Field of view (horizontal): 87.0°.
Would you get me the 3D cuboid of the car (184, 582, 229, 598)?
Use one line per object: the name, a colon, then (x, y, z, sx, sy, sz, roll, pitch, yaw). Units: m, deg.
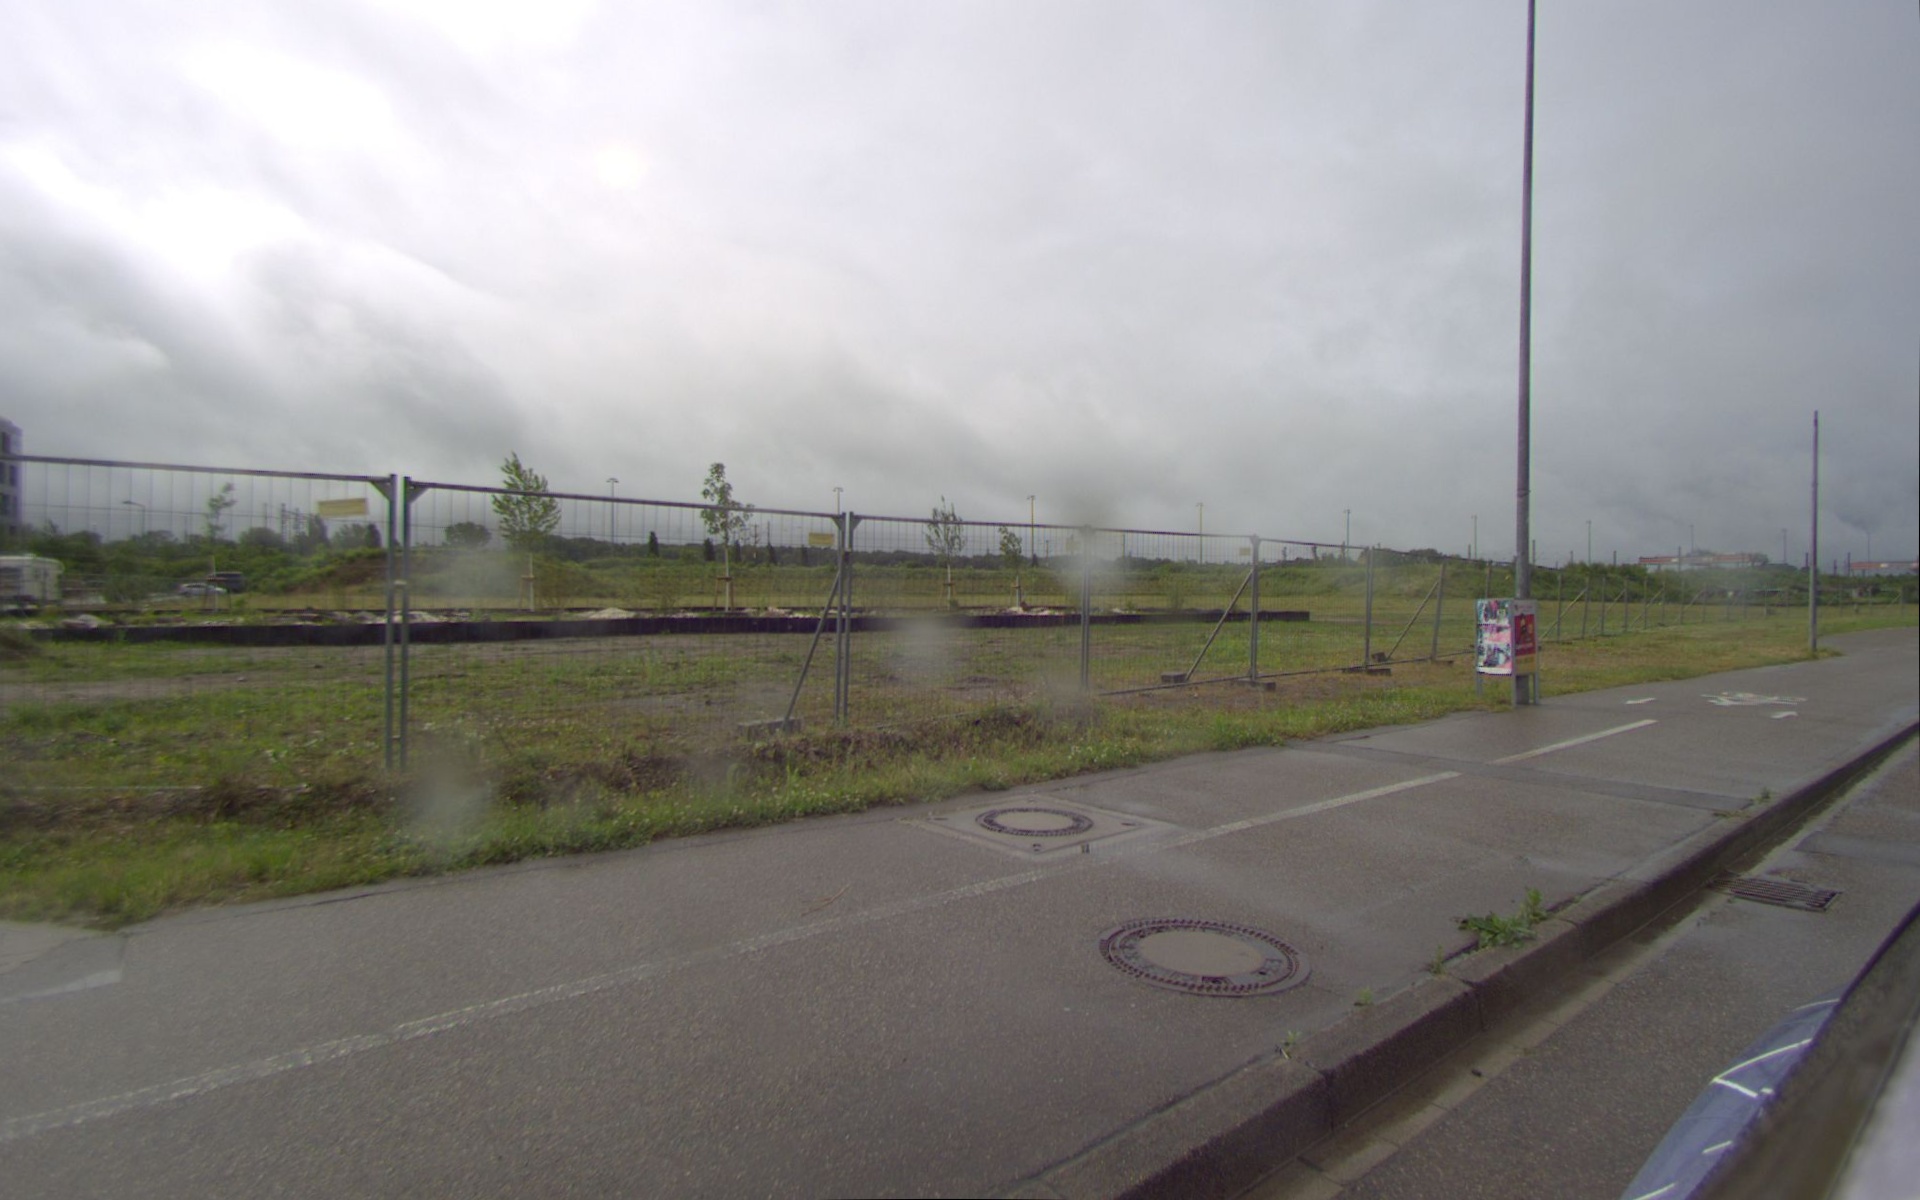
car: (-83.105, -1.137, 111.656, 3.926, 1.749, 1.999, 0, 1, -37)

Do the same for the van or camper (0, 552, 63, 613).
van or camper: (-56.005, -0.970, 60.276, 2.479, 3.243, 6.804, 0, -3, -30)

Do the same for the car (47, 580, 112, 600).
car: (-81.771, -0.904, 94.059, 4.280, 1.709, 1.801, 0, -3, -28)

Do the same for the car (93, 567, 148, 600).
car: (-60.149, -1.151, 72.565, 1.959, 2.040, 4.817, 0, -2, -26)
